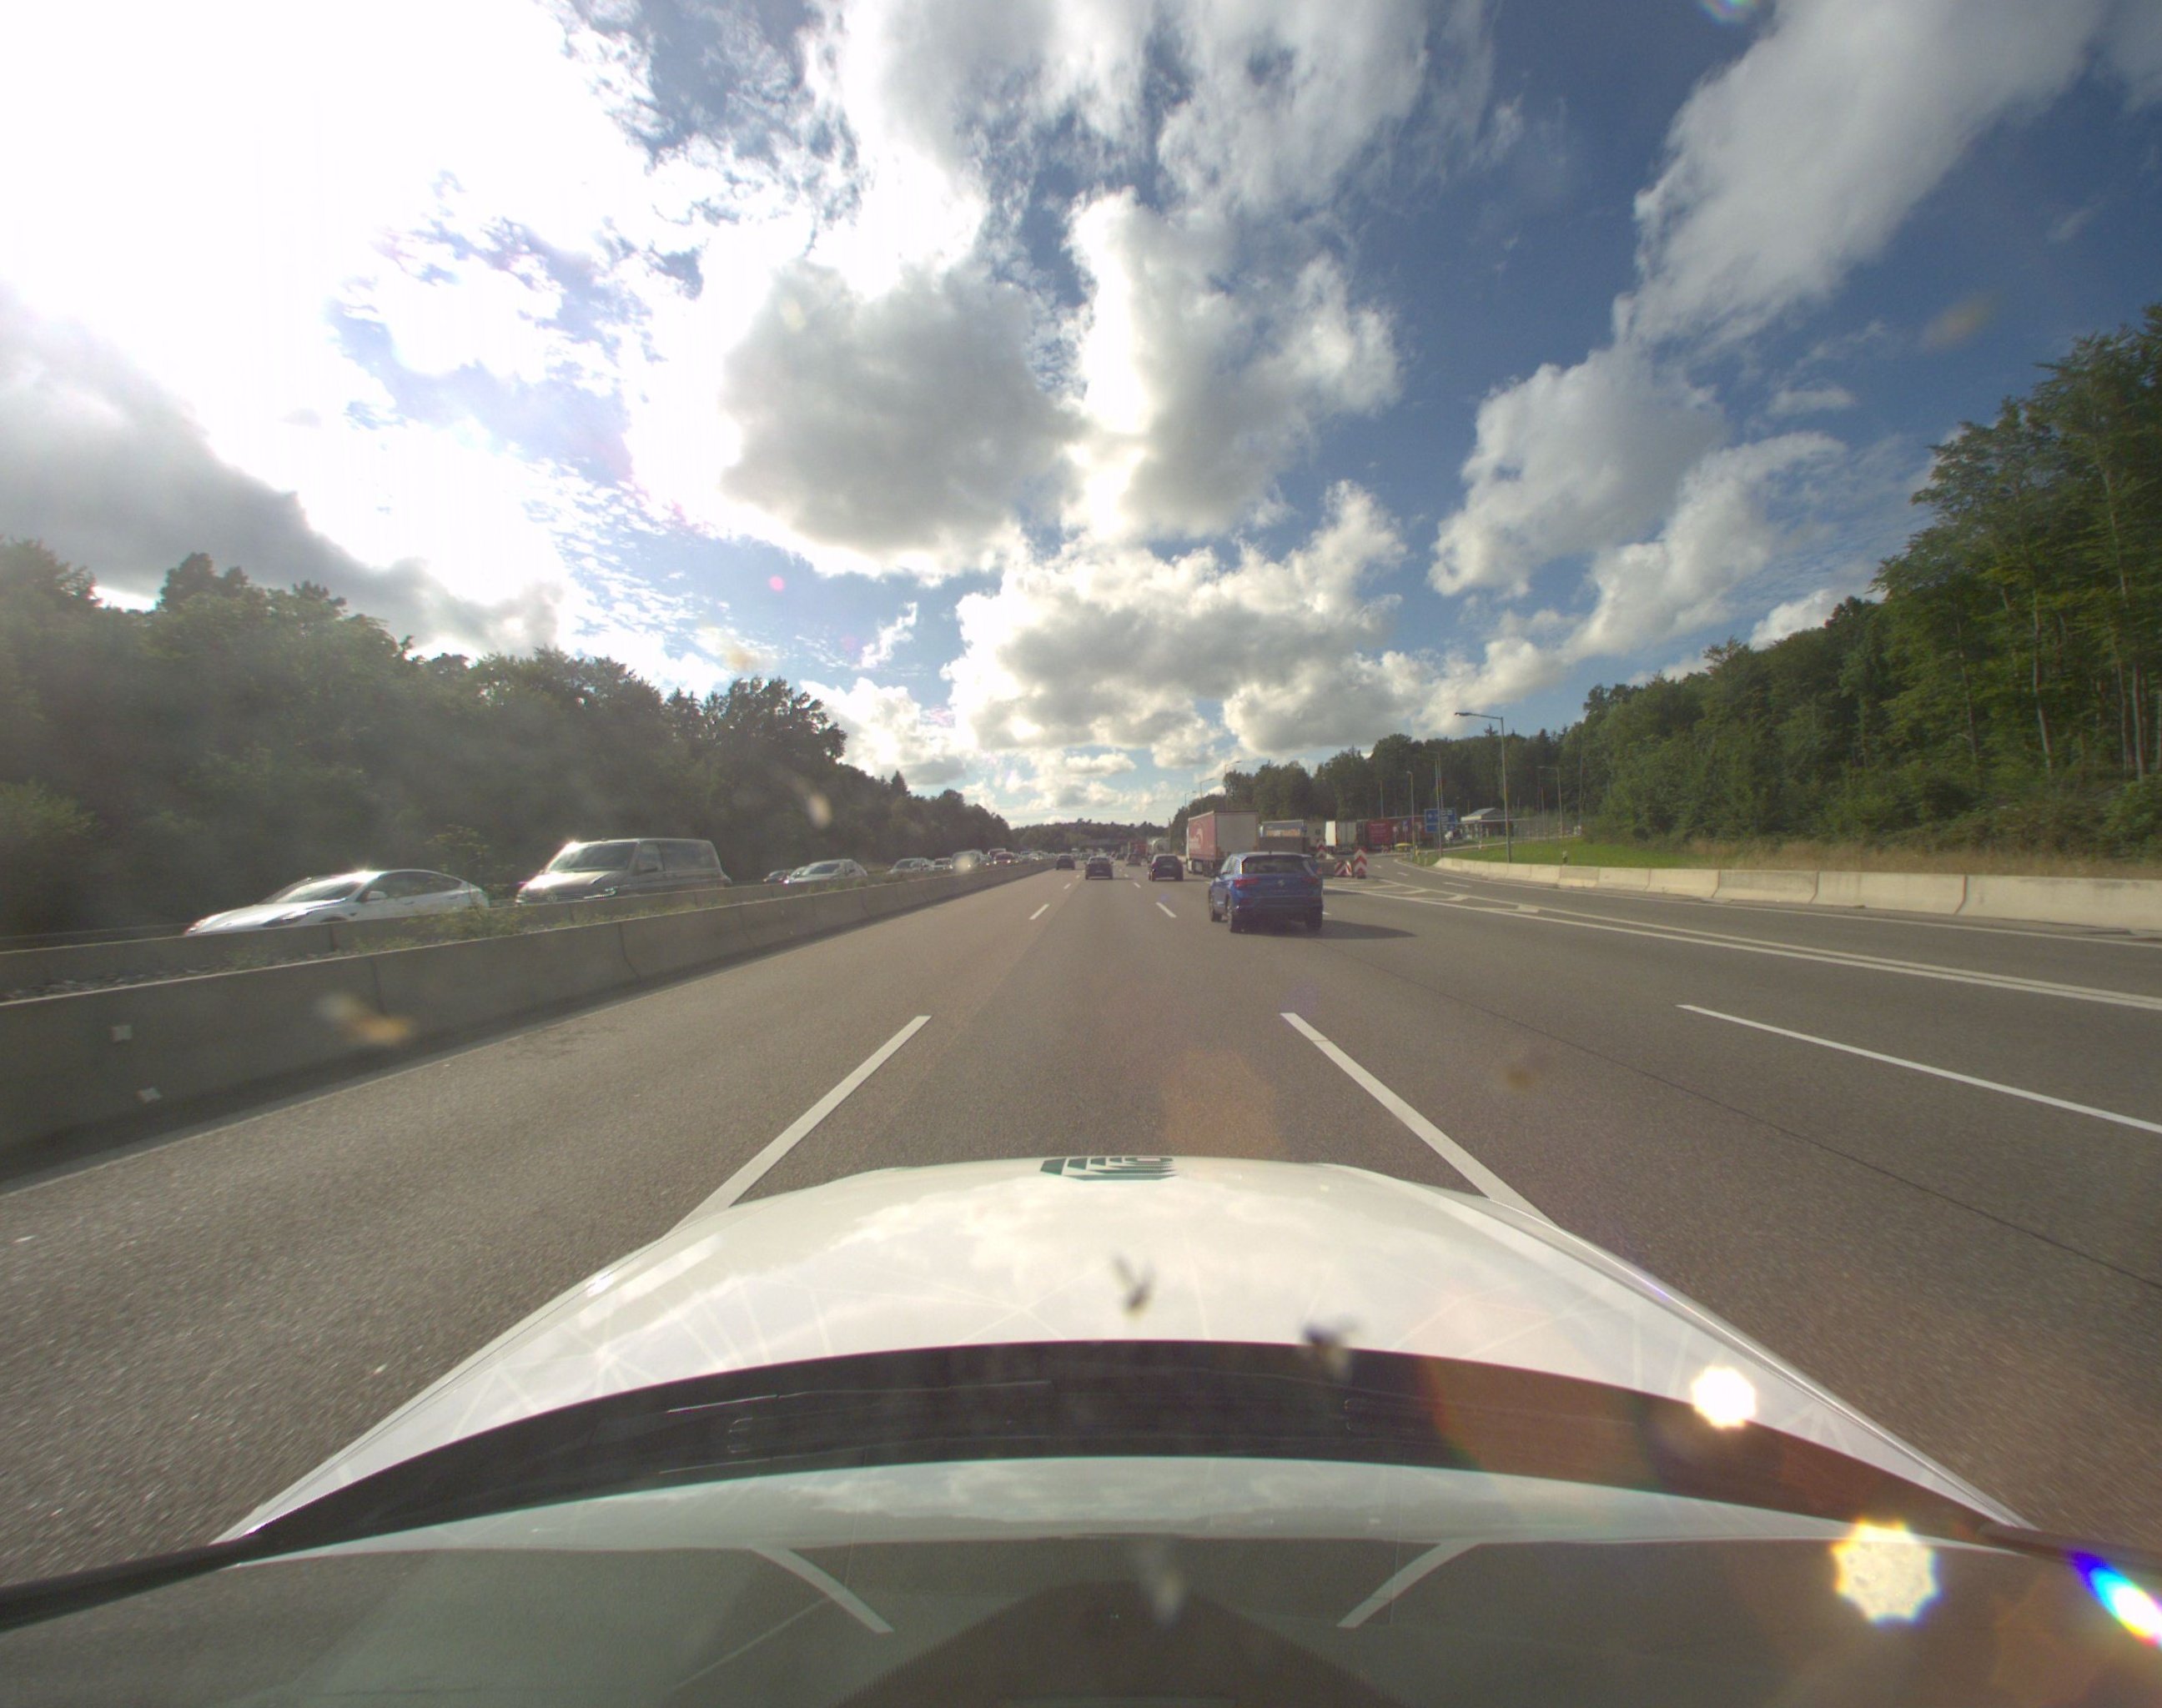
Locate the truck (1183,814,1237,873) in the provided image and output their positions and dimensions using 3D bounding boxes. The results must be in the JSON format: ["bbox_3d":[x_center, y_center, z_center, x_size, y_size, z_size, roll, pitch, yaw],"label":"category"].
[{"bbox_3d":[9.413,-0.701,60.079,3.069,4.064,6.070,-1,-2,1],"label":"truck"}]

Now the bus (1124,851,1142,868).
[{"bbox_3d":[6.305,0.705,99.311,1.986,2.014,4.001,-1,-2,2],"label":"bus"}]

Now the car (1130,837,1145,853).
[{"bbox_3d":[11.061,-1.741,160.202,2.855,2.992,5.152,-1,-2,3],"label":"car"}]

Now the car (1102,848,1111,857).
[{"bbox_3d":[5.982,-0.282,191.445,1.986,2.014,4.000,-2,-2,1],"label":"car"}]

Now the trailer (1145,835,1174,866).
[{"bbox_3d":[10.843,-0.327,113.827,3.025,4.016,12.246,-1,-1,1],"label":"trailer"}]

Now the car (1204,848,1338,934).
[{"bbox_3d":[3.832,0.684,17.225,1.916,1.541,4.648,-1,0,3],"label":"car"}]

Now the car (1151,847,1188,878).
[{"bbox_3d":[5.009,0.492,46.494,1.792,1.644,4.001,0,-1,2],"label":"car"}]

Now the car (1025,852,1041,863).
[{"bbox_3d":[-6.726,0.495,115.294,1.758,1.572,4.360,0,0,3],"label":"car"}]

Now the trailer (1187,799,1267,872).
[{"bbox_3d":[9.218,-0.913,53.318,3.027,4.035,13.892,-1,-2,1],"label":"trailer"}]

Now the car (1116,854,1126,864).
[{"bbox_3d":[8.345,1.074,168.781,1.986,2.014,4.001,0,-1,1],"label":"car"}]

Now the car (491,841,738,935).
[{"bbox_3d":[-8.970,0.581,16.293,1.985,1.572,4.818,-1,0,3],"label":"car"}]

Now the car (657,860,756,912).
[{"bbox_3d":[-15.795,1.338,34.645,1.985,2.014,4.461,-1,-2,3],"label":"car"}]

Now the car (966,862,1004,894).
[{"bbox_3d":[-6.379,1.611,54.523,1.809,2.014,4.454,-1,-2,3],"label":"car"}]

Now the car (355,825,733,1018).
[{"bbox_3d":[-6.272,0.663,10.214,1.986,1.920,4.001,-1,0,1],"label":"car"}]

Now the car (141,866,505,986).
[{"bbox_3d":[-13.187,1.128,14.730,1.985,1.733,4.765,-1,0,3],"label":"car"}]

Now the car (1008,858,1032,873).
[{"bbox_3d":[-6.717,1.245,90.225,1.985,1.572,5.211,0,0,3],"label":"car"}]

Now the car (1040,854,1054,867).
[{"bbox_3d":[-5.591,1.032,133.472,1.987,2.014,4.676,-1,-2,0],"label":"car"}]

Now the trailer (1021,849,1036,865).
[{"bbox_3d":[-9.774,0.536,152.579,2.271,2.786,8.541,-1,0,0],"label":"trailer"}]

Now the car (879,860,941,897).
[{"bbox_3d":[-8.496,1.235,40.929,1.985,1.759,4.461,-1,-2,3],"label":"car"}]

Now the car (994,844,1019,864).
[{"bbox_3d":[-6.916,0.015,76.286,1.870,1.762,5.293,-1,0,0],"label":"car"}]

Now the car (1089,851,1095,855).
[{"bbox_3d":[3.356,-0.296,249.684,1.617,1.470,3.816,0,-1,2],"label":"car"}]

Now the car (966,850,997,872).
[{"bbox_3d":[-8.354,0.636,68.454,1.850,1.763,4.461,-1,-1,3],"label":"car"}]

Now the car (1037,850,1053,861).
[{"bbox_3d":[-5.419,0.251,123.604,1.985,1.572,5.332,1,0,3],"label":"car"}]

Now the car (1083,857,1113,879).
[{"bbox_3d":[1.059,0.889,51.830,1.729,1.365,3.997,0,-1,-1],"label":"car"}]

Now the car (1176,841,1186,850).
[{"bbox_3d":[22.541,-1.946,183.652,1.986,2.014,4.001,-3,-1,1],"label":"car"}]

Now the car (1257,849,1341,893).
[{"bbox_3d":[8.114,0.634,30.722,1.712,1.511,4.295,-2,-1,-4],"label":"car"}]

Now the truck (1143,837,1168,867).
[{"bbox_3d":[10.981,-0.256,119.937,3.035,4.160,7.126,-1,-1,0],"label":"truck"}]

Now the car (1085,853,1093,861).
[{"bbox_3d":[2.063,0.656,210.245,1.988,2.013,3.998,-1,0,-1],"label":"car"}]

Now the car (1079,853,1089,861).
[{"bbox_3d":[0.719,0.680,181.935,2.146,1.776,4.001,0,-1,2],"label":"car"}]

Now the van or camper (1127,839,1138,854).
[{"bbox_3d":[11.719,-1.568,184.433,2.342,3.144,5.713,-1,-2,3],"label":"van or camper"}]

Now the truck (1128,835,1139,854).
[{"bbox_3d":[11.384,-2.004,177.257,2.348,3.573,11.272,-1,-2,3],"label":"truck"}]

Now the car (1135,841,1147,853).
[{"bbox_3d":[11.038,-1.280,149.475,1.986,2.014,4.000,-1,-2,1],"label":"car"}]

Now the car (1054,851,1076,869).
[{"bbox_3d":[-1.595,0.615,84.086,1.986,1.776,4.002,-2,0,2],"label":"car"}]
